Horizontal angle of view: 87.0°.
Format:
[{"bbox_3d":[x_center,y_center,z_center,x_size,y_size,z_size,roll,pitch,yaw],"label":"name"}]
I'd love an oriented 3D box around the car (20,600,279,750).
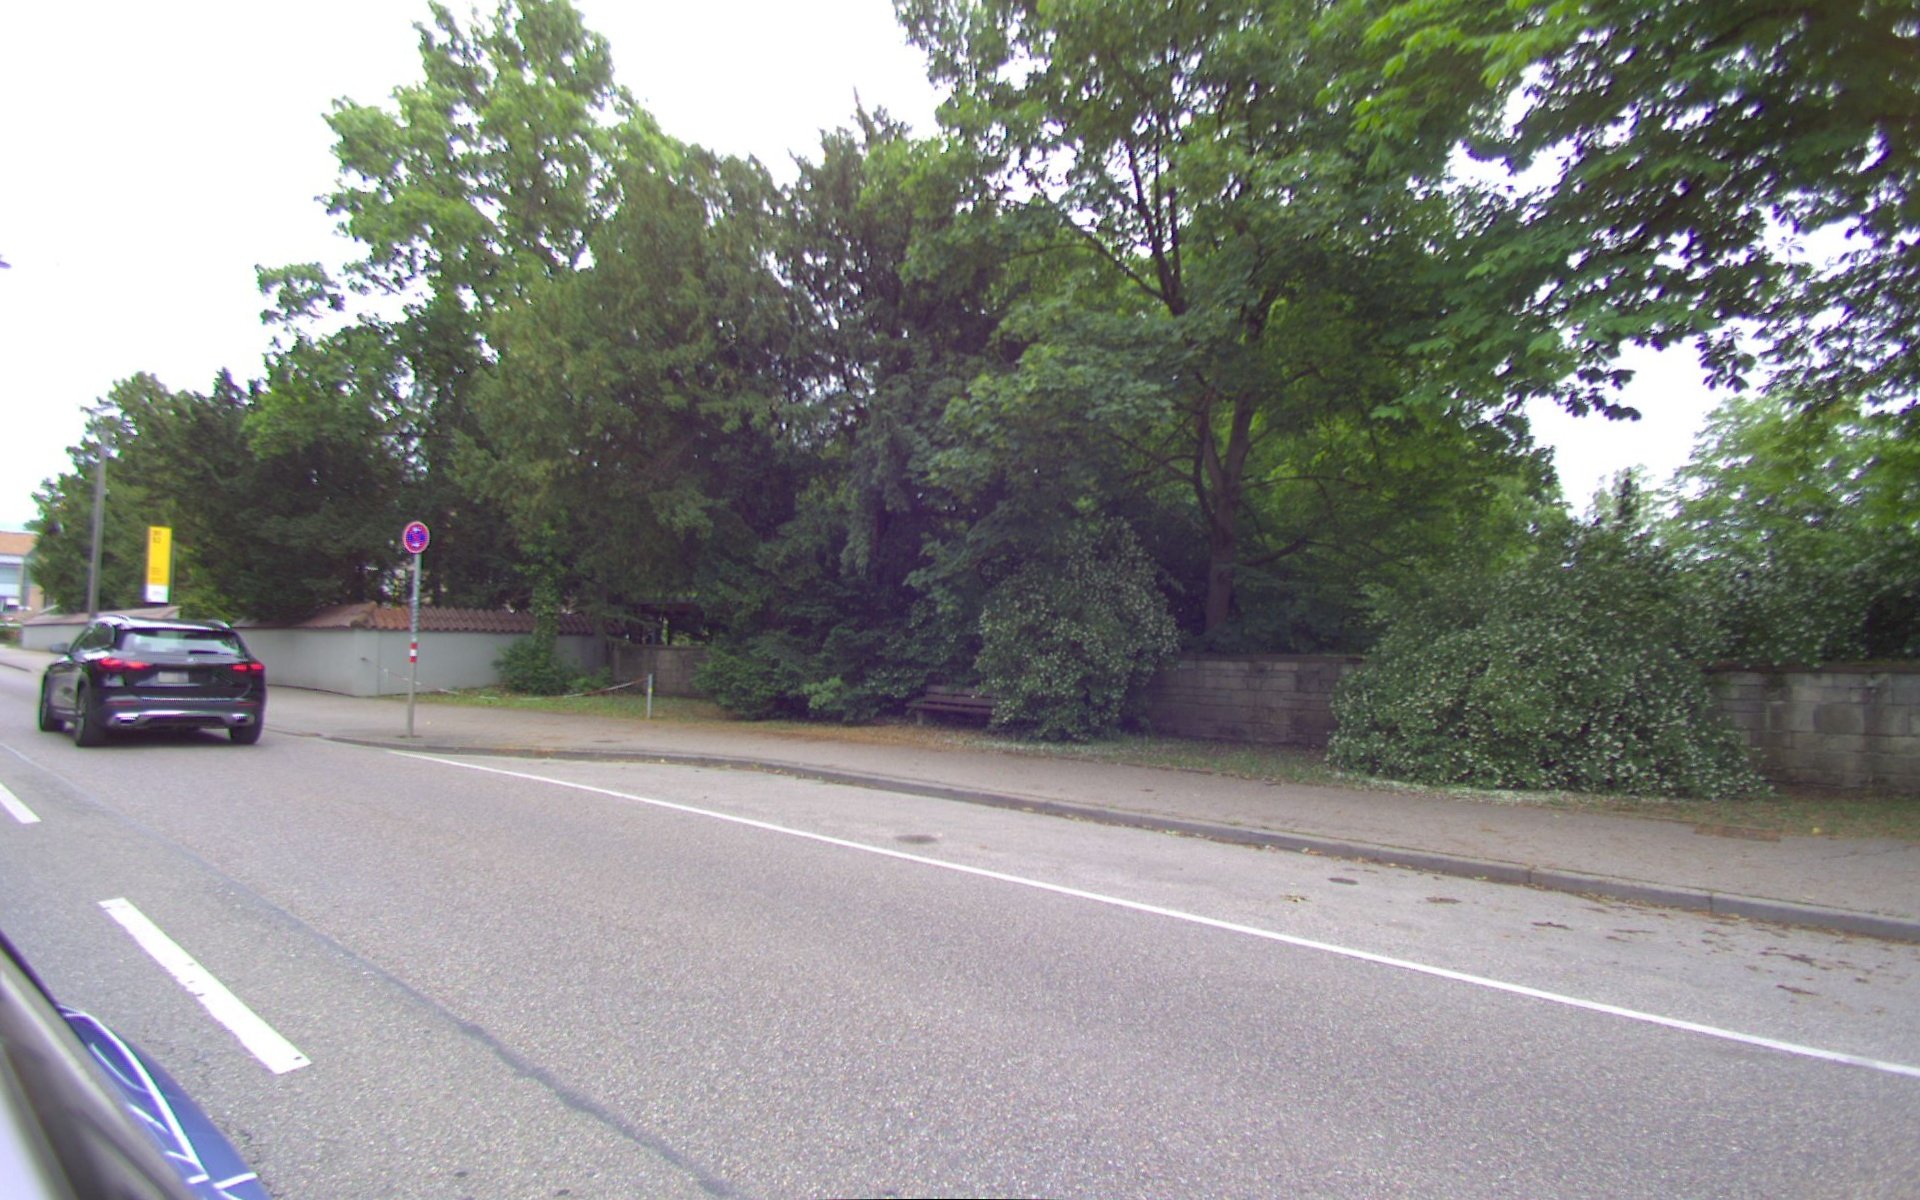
[{"bbox_3d":[-10.800,0.944,13.385,4.304,1.670,1.840,-1,-6,41],"label":"car"}]
